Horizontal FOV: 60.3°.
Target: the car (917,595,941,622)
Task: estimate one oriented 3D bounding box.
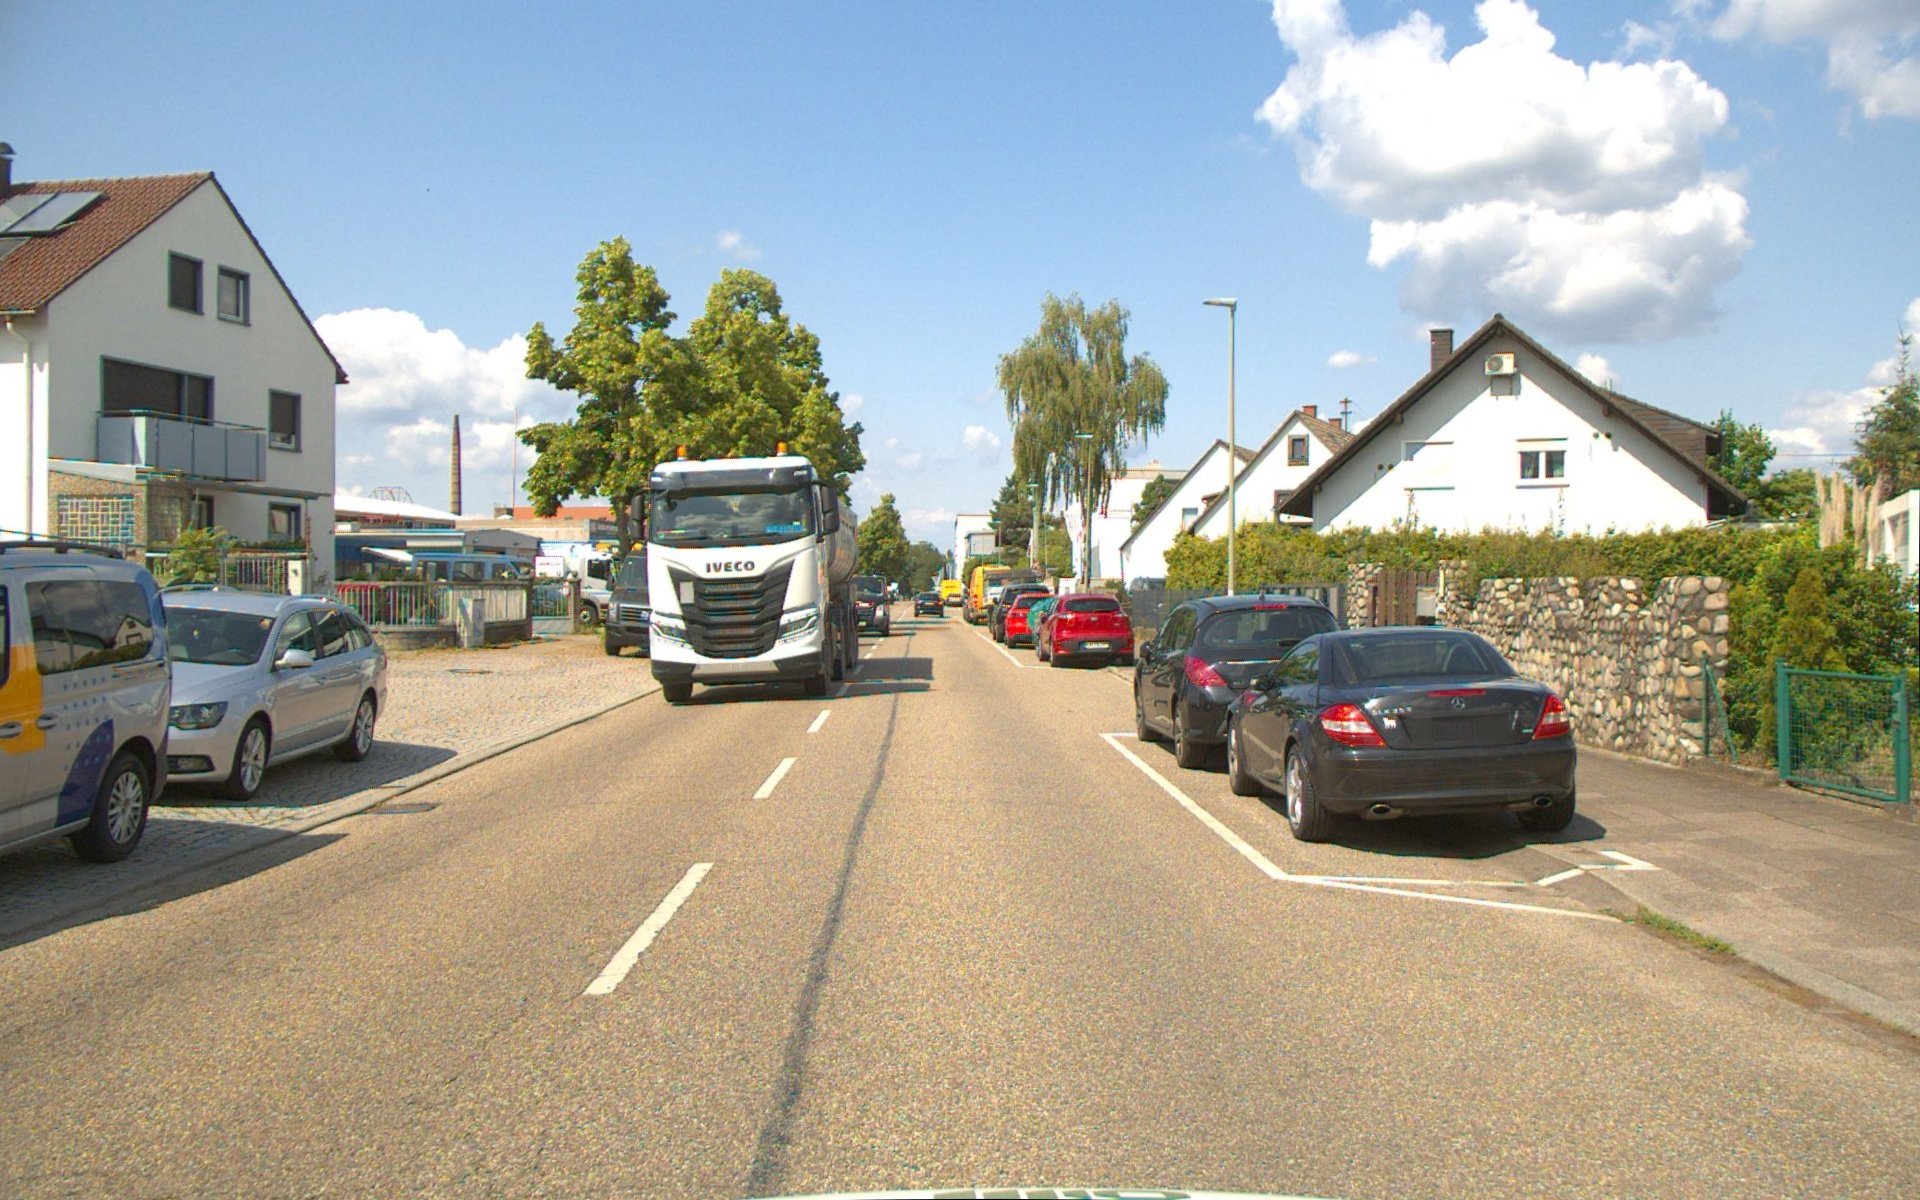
[{"bbox_3d":[-1.810,0.506,98.082,1.398,1.545,3.017,0,0,0],"label":"car"}]

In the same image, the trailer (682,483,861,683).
[{"bbox_3d":[-3.222,-0.303,30.291,2.778,3.122,8.883,0,0,-4],"label":"trailer"}]

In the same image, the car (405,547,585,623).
[{"bbox_3d":[-14.140,-0.437,50.419,4.893,2.270,2.002,0,-1,11],"label":"car"}]

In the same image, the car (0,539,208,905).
[{"bbox_3d":[-5.696,0.573,8.354,1.773,1.837,4.489,3,0,-2],"label":"car"}]

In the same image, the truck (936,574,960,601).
[{"bbox_3d":[-1.421,-1.447,193.329,2.425,2.991,7.185,1,0,-3],"label":"truck"}]

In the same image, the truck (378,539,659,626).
[{"bbox_3d":[-15.374,-0.621,57.962,9.064,2.906,2.722,0,1,3],"label":"truck"}]

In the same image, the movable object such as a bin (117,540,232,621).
[{"bbox_3d":[-15.877,-0.418,33.467,1.281,1.456,1.605,0,7,15],"label":"movable object such as a bin"}]

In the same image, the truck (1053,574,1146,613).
[{"bbox_3d":[9.579,-0.449,113.575,5.969,2.622,2.544,0,1,-28],"label":"truck"}]

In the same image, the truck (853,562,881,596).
[{"bbox_3d":[-8.591,-1.897,152.773,2.269,2.912,7.102,2,0,-2],"label":"truck"}]

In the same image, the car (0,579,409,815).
[{"bbox_3d":[-6.181,0.657,13.930,1.714,1.486,4.706,3,1,-4],"label":"car"}]

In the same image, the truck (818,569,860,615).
[{"bbox_3d":[-7.999,-0.547,109.926,2.175,2.907,7.069,2,0,0],"label":"truck"}]

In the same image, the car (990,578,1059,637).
[{"bbox_3d":[1.864,0.199,49.286,1.792,1.691,4.553,0,0,-1],"label":"car"}]

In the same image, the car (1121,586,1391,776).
[{"bbox_3d":[2.743,0.682,16.248,1.709,1.578,4.119,2,0,-3],"label":"car"}]

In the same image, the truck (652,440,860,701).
[{"bbox_3d":[-2.963,-0.437,25.578,2.717,3.560,5.879,0,0,-3],"label":"truck"}]

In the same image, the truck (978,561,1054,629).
[{"bbox_3d":[1.963,-0.202,60.139,2.471,2.339,5.894,0,0,-1],"label":"truck"}]

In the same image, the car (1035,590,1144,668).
[{"bbox_3d":[2.620,0.550,34.388,1.658,1.488,4.753,1,0,-3],"label":"car"}]

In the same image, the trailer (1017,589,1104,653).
[{"bbox_3d":[2.324,0.459,39.140,1.576,1.402,4.430,1,0,-3],"label":"trailer"}]

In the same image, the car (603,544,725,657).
[{"bbox_3d":[-6.482,-0.041,36.604,2.126,2.299,3.998,2,1,-3],"label":"car"}]

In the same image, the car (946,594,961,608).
[{"bbox_3d":[-0.722,0.074,181.704,1.618,1.411,4.422,1,1,-1],"label":"car"}]

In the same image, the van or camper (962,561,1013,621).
[{"bbox_3d":[1.253,-0.436,77.278,1.954,2.710,5.766,0,0,-3],"label":"van or camper"}]

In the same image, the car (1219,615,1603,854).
[{"bbox_3d":[2.998,0.817,11.836,1.675,1.341,3.963,0,1,0],"label":"car"}]

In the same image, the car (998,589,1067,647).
[{"bbox_3d":[1.929,0.454,44.762,1.650,1.460,4.146,1,0,0],"label":"car"}]

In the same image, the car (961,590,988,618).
[{"bbox_3d":[0.847,0.232,100.885,1.577,1.608,4.000,1,0,0],"label":"car"}]

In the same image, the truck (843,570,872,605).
[{"bbox_3d":[-8.771,-1.014,142.342,2.223,2.904,7.171,1,0,-2],"label":"truck"}]

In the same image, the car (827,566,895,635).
[{"bbox_3d":[-3.185,-0.006,54.086,2.010,2.069,5.140,-2,0,-2],"label":"car"}]
